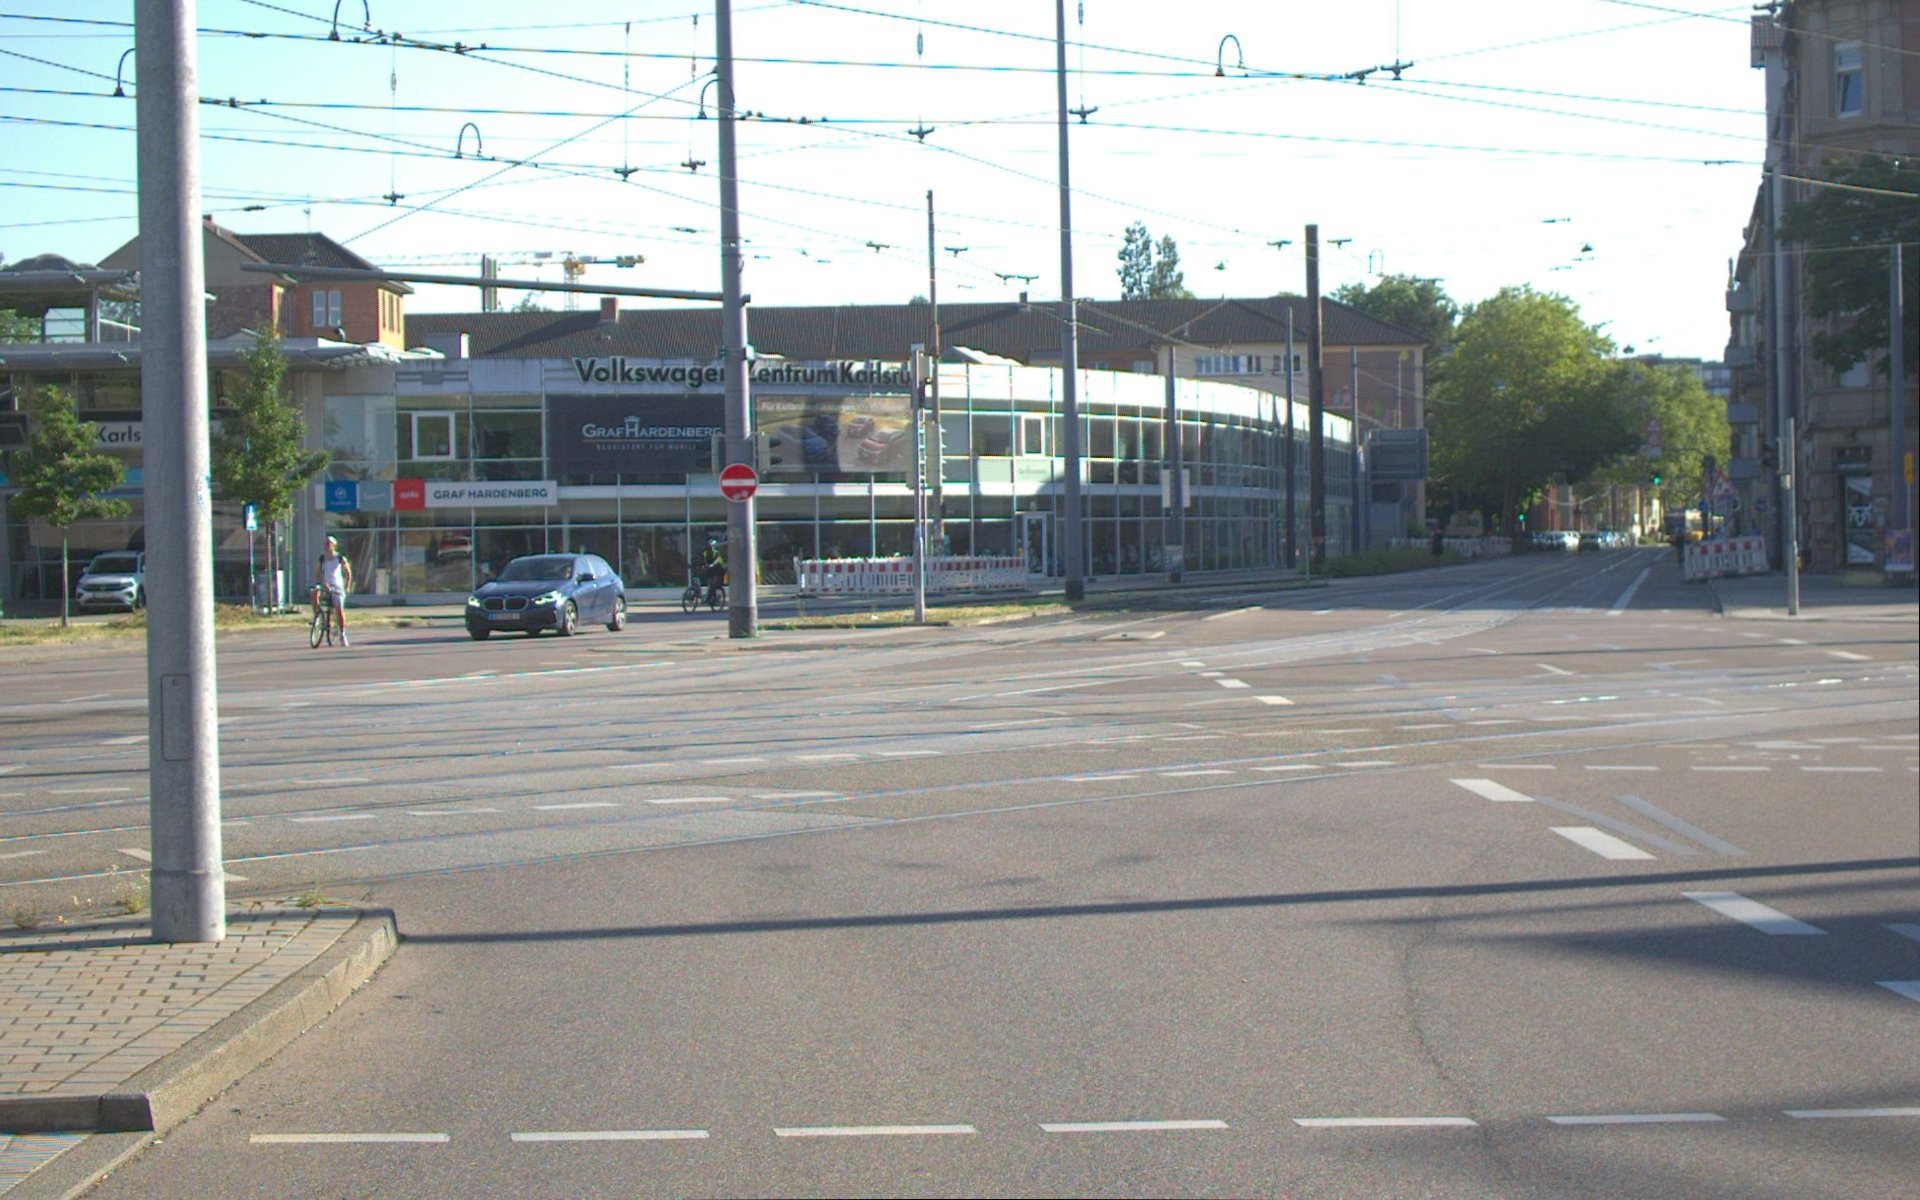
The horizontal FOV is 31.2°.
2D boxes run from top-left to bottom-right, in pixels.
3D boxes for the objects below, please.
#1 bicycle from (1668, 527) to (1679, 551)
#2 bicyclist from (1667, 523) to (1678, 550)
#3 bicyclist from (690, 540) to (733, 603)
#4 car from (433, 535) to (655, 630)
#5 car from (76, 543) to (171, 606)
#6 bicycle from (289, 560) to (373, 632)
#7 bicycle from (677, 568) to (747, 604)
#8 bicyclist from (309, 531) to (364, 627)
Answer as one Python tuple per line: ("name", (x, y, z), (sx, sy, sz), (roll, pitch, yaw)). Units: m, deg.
("bicycle", (29.295, -2.513, 141.204), (0.410, 0.938, 1.844), (1, 0, 11))
("bicyclist", (29.256, -2.604, 141.108), (0.408, 1.112, 0.399), (1, 0, 10))
("bicyclist", (-6.222, -0.702, 86.111), (0.655, 1.567, 0.921), (1, 0, 28))
("car", (-7.226, -0.301, 60.099), (1.996, 1.579, 3.994), (1, 0, 26))
("car", (-23.750, -0.720, 97.690), (1.993, 1.744, 4.001), (1, 0, -5))
("bicycle", (-10.648, -0.067, 58.263), (0.613, 1.185, 1.867), (1, 0, 16))
("bicycle", (-6.199, -0.347, 86.117), (0.639, 0.867, 2.231), (1, 0, 29))
("bicyclist", (-10.598, -0.354, 58.429), (0.598, 1.610, 0.822), (1, 0, 16))
